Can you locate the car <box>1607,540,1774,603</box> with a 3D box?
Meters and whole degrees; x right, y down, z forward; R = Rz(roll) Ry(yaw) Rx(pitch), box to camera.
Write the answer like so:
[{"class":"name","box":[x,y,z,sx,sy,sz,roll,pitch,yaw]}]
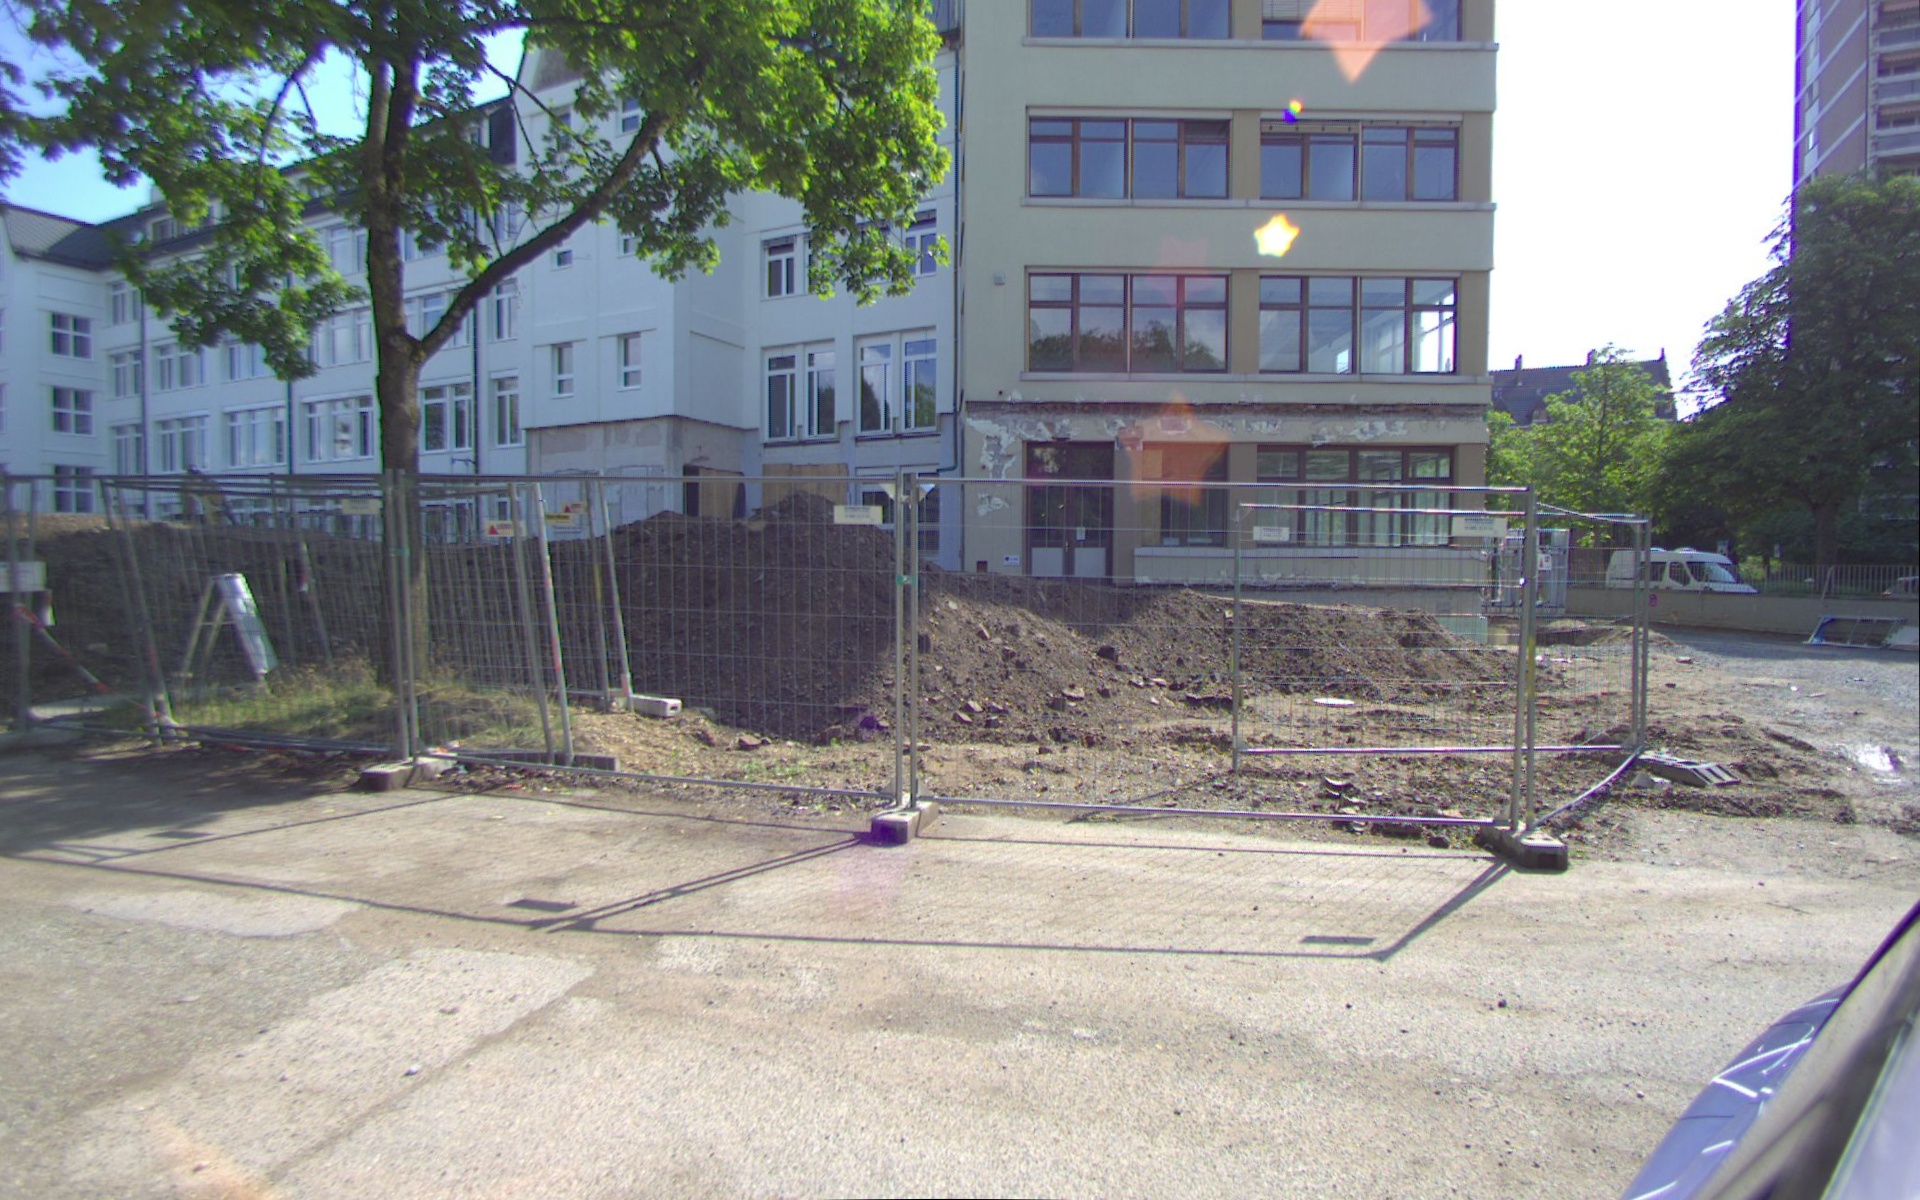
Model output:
[{"class":"car","box":[25.458,-1.014,35.570,1.962,2.038,5.310,1,2,0]}]
